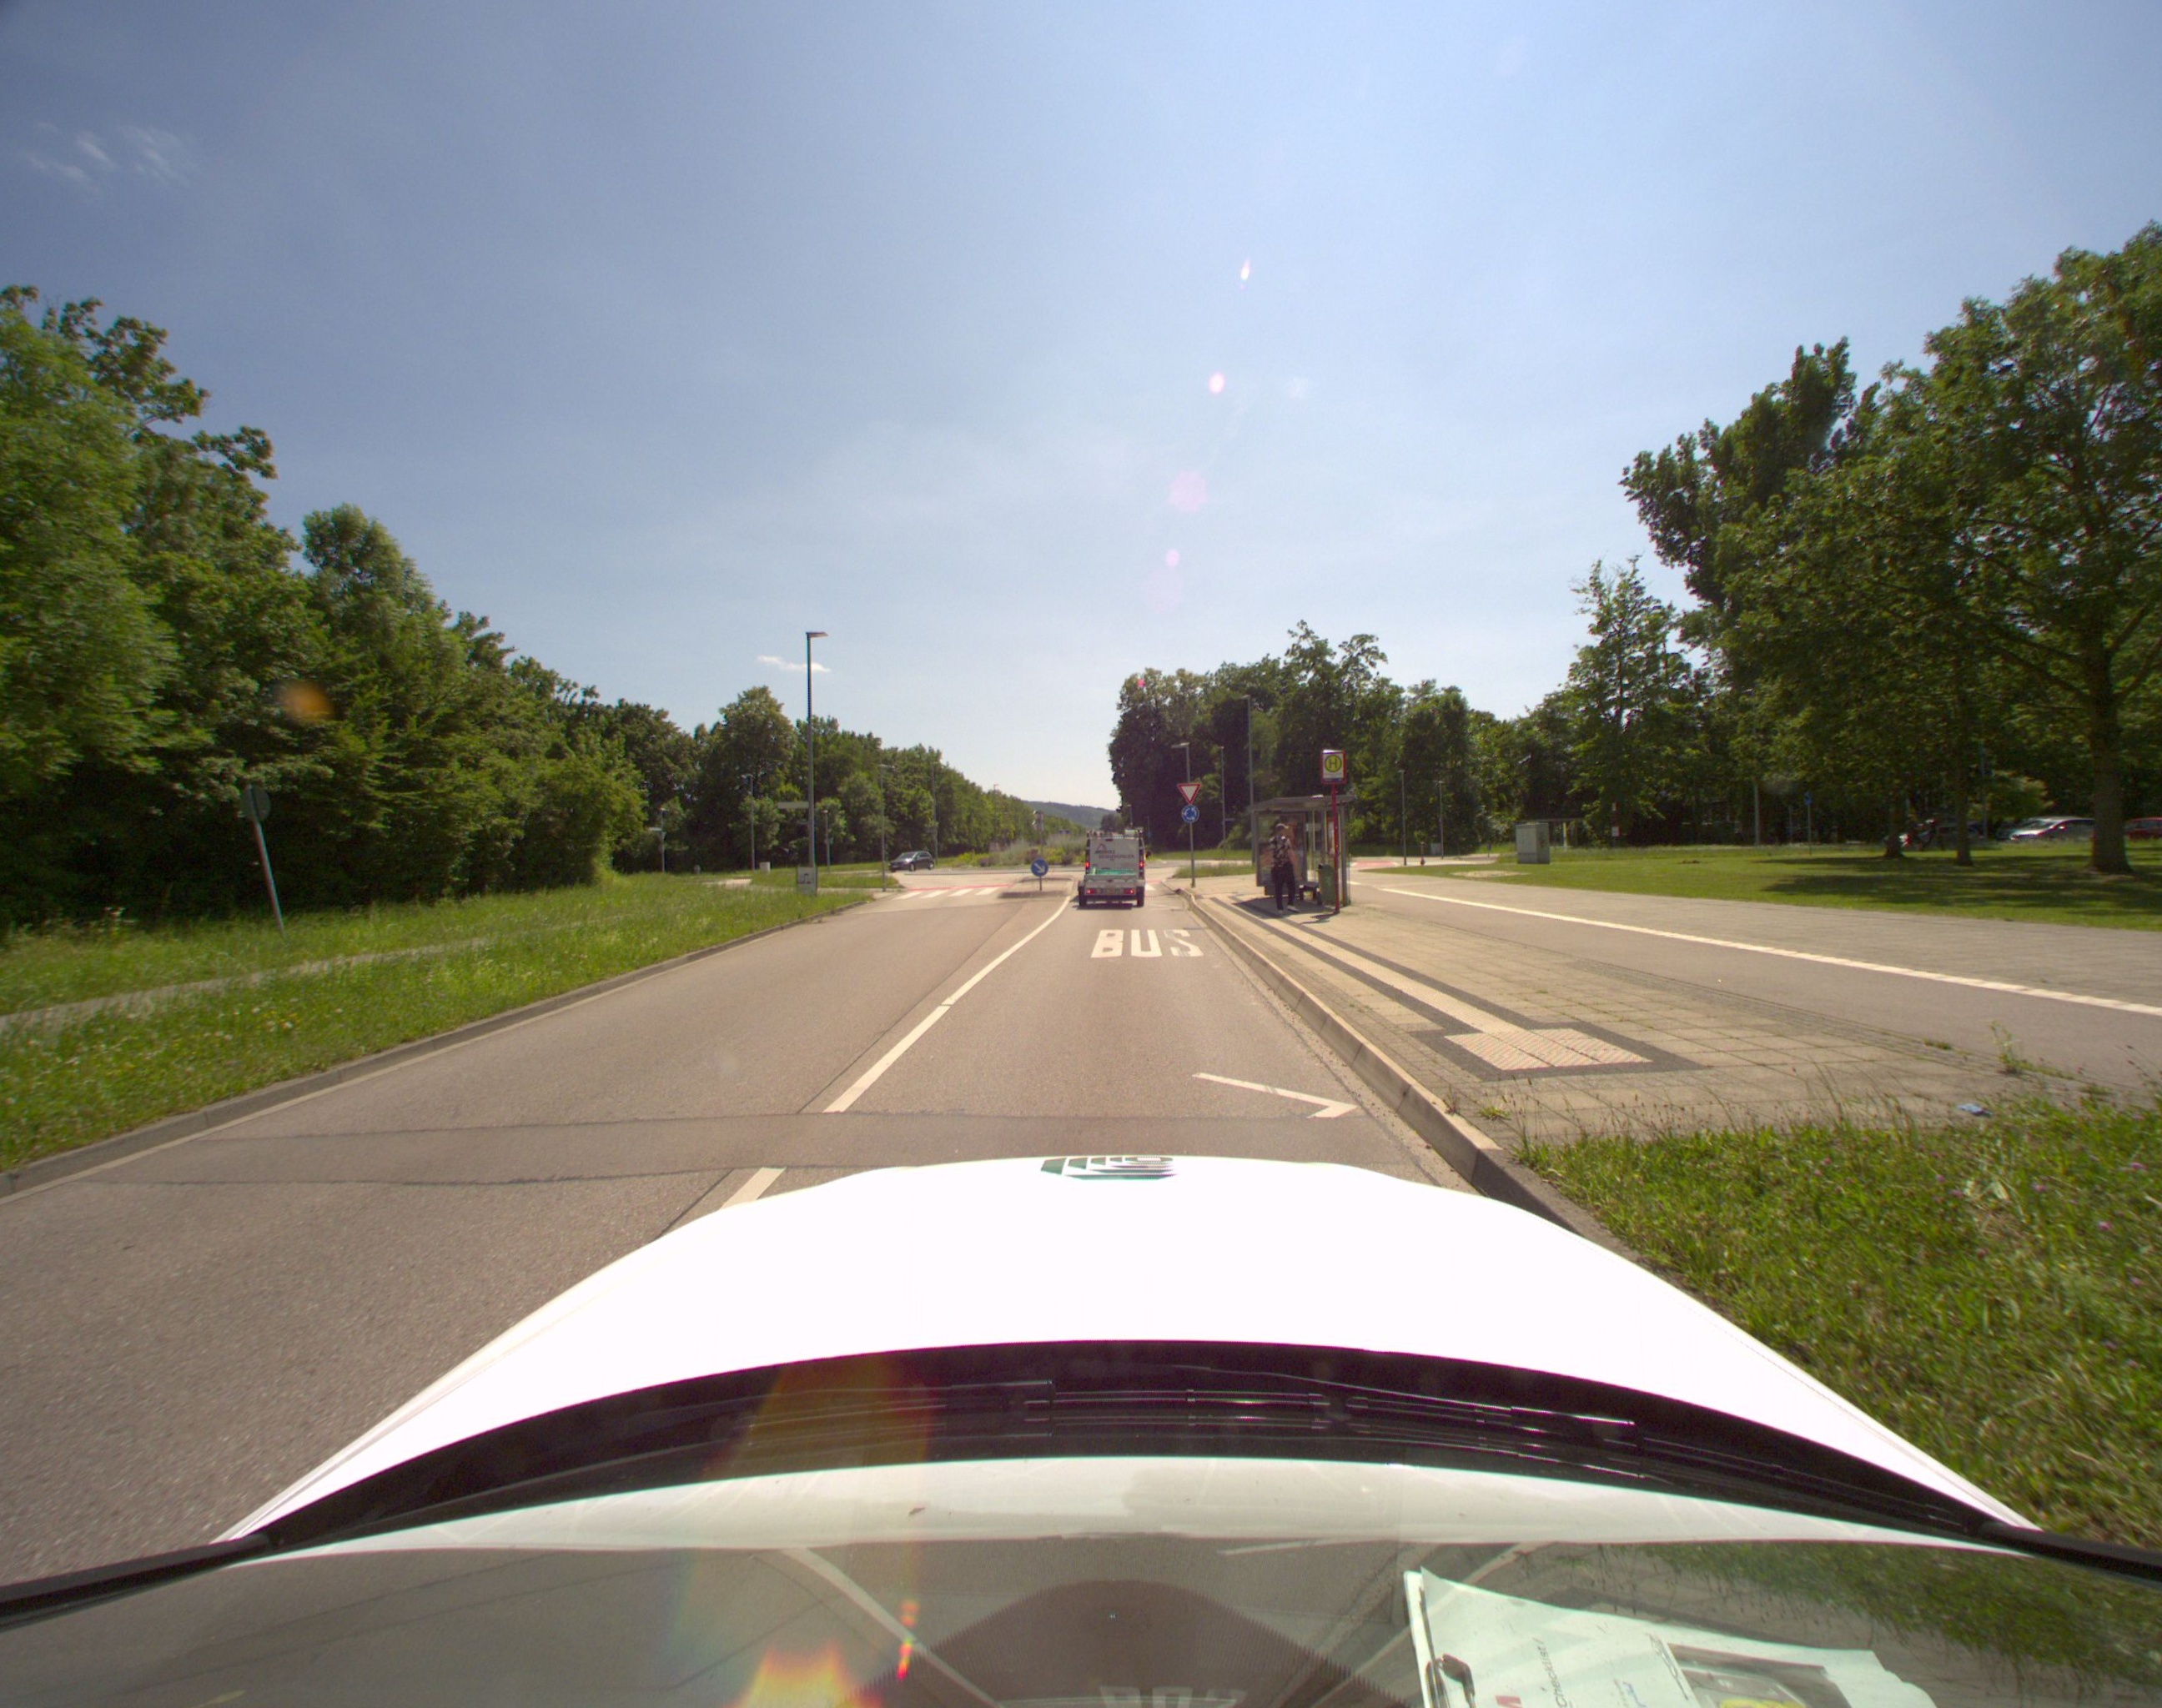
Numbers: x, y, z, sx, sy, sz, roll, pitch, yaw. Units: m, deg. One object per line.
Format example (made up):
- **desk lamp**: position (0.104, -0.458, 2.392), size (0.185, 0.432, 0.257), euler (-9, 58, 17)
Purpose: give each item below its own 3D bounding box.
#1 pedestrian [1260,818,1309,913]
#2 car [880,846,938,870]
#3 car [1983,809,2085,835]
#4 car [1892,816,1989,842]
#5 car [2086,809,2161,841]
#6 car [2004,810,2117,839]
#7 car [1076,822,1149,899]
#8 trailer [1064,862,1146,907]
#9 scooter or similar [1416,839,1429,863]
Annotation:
- **pedestrian**: position (4.087, 0.216, 16.338), size (0.701, 1.822, 0.831), euler (-4, 0, 23)
- **car**: position (-12.486, 0.268, 59.442), size (1.976, 1.478, 4.313), euler (-3, 1, 23)
- **car**: position (58.954, -1.941, 50.438), size (3.758, 1.415, 1.889), euler (-2, 0, 9)
- **car**: position (53.355, -1.567, 50.606), size (3.966, 1.485, 1.707), euler (-1, 3, 6)
- **car**: position (52.533, -1.436, 40.006), size (1.855, 1.483, 3.688), euler (-1, 0, 2)
- **car**: position (57.010, -1.698, 47.470), size (4.090, 1.606, 1.795), euler (-1, 0, 8)
- **car**: position (1.172, 0.174, 27.309), size (2.156, 2.316, 4.988), euler (-1, 0, 5)
- **trailer**: position (0.769, 0.820, 23.161), size (2.111, 1.097, 3.359), euler (-1, 0, 5)
- **scooter or similar**: position (17.745, -0.150, 42.342), size (0.442, 1.201, 1.407), euler (-1, 0, 29)
